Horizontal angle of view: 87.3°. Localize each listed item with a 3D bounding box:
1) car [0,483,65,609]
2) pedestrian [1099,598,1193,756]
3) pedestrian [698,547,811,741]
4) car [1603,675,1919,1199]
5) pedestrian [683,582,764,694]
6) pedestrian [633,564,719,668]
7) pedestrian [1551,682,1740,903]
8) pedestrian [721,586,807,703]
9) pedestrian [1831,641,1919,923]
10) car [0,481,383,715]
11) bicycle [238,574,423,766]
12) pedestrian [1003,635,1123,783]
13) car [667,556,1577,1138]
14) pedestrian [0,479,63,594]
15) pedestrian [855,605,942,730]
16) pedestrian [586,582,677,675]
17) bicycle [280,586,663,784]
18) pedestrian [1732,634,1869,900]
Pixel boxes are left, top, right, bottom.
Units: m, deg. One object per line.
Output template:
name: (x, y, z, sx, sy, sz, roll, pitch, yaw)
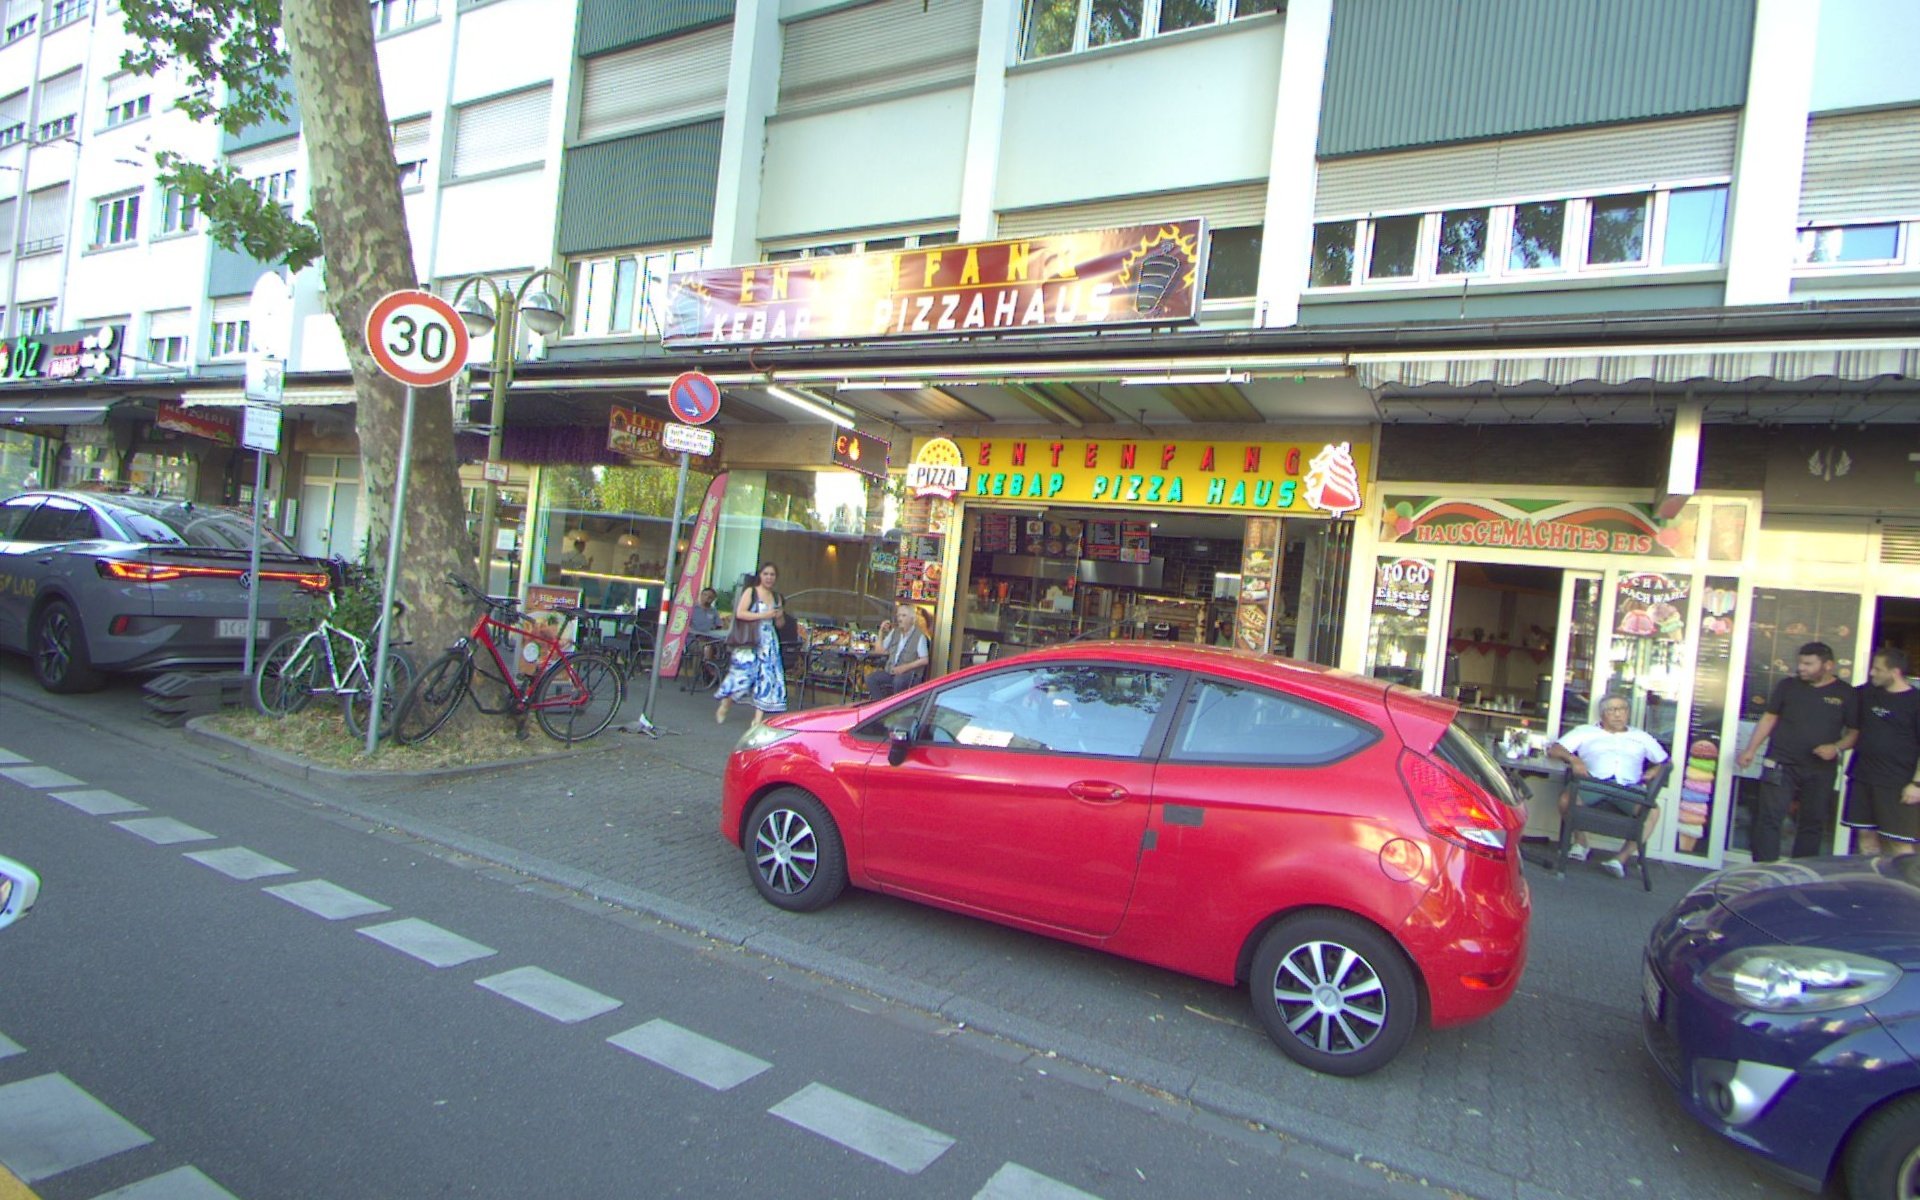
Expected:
car: (-14.522, -0.936, 13.719, 4.292, 1.603, 1.996, 7, 2, 27)
pedestrian: (1.989, 0.815, 10.734, 0.589, 1.566, 0.700, 7, 0, 34)
pedestrian: (-1.905, 0.401, 9.409, 0.782, 1.667, 0.583, 7, 1, -4)
car: (4.091, 1.231, 2.864, 3.549, 1.488, 1.767, 6, 3, 29)
pedestrian: (-2.868, 0.453, 12.200, 0.680, 1.261, 0.557, 7, 2, 38)
pedestrian: (-4.070, 0.220, 14.483, 0.958, 1.350, 0.830, 6, 0, -9)
pedestrian: (4.975, 1.340, 7.399, 0.937, 1.352, 1.069, 7, 0, 30)
pedestrian: (-2.284, 0.516, 11.704, 0.679, 1.261, 0.558, 7, 2, 33)
pedestrian: (6.391, 1.207, 6.776, 0.391, 1.805, 0.552, 4, 2, -29)
car: (-7.656, -0.153, 9.252, 4.292, 1.603, 1.996, 7, 2, 27)
bicycle: (-4.551, 0.471, 7.240, 1.421, 1.169, 0.553, 6, 0, 36)
pedestrian: (0.963, 0.982, 9.363, 0.798, 1.225, 0.654, 7, 2, 28)
car: (0.655, 0.786, 4.920, 3.757, 1.617, 1.783, 6, 3, 28)
pedestrian: (-14.408, -0.976, 15.609, 0.661, 1.688, 0.593, 4, 2, -42)
pedestrian: (-0.661, 0.721, 10.927, 0.550, 1.252, 0.689, 7, 2, 29)
pedestrian: (-4.302, 0.364, 13.240, 0.940, 1.094, 0.639, 7, 0, -9)
bicycle: (-3.329, 0.524, 7.103, 0.547, 1.171, 2.377, 7, 4, 44)
pedestrian: (6.048, 1.173, 7.266, 0.547, 1.802, 0.395, 6, 2, 29)
